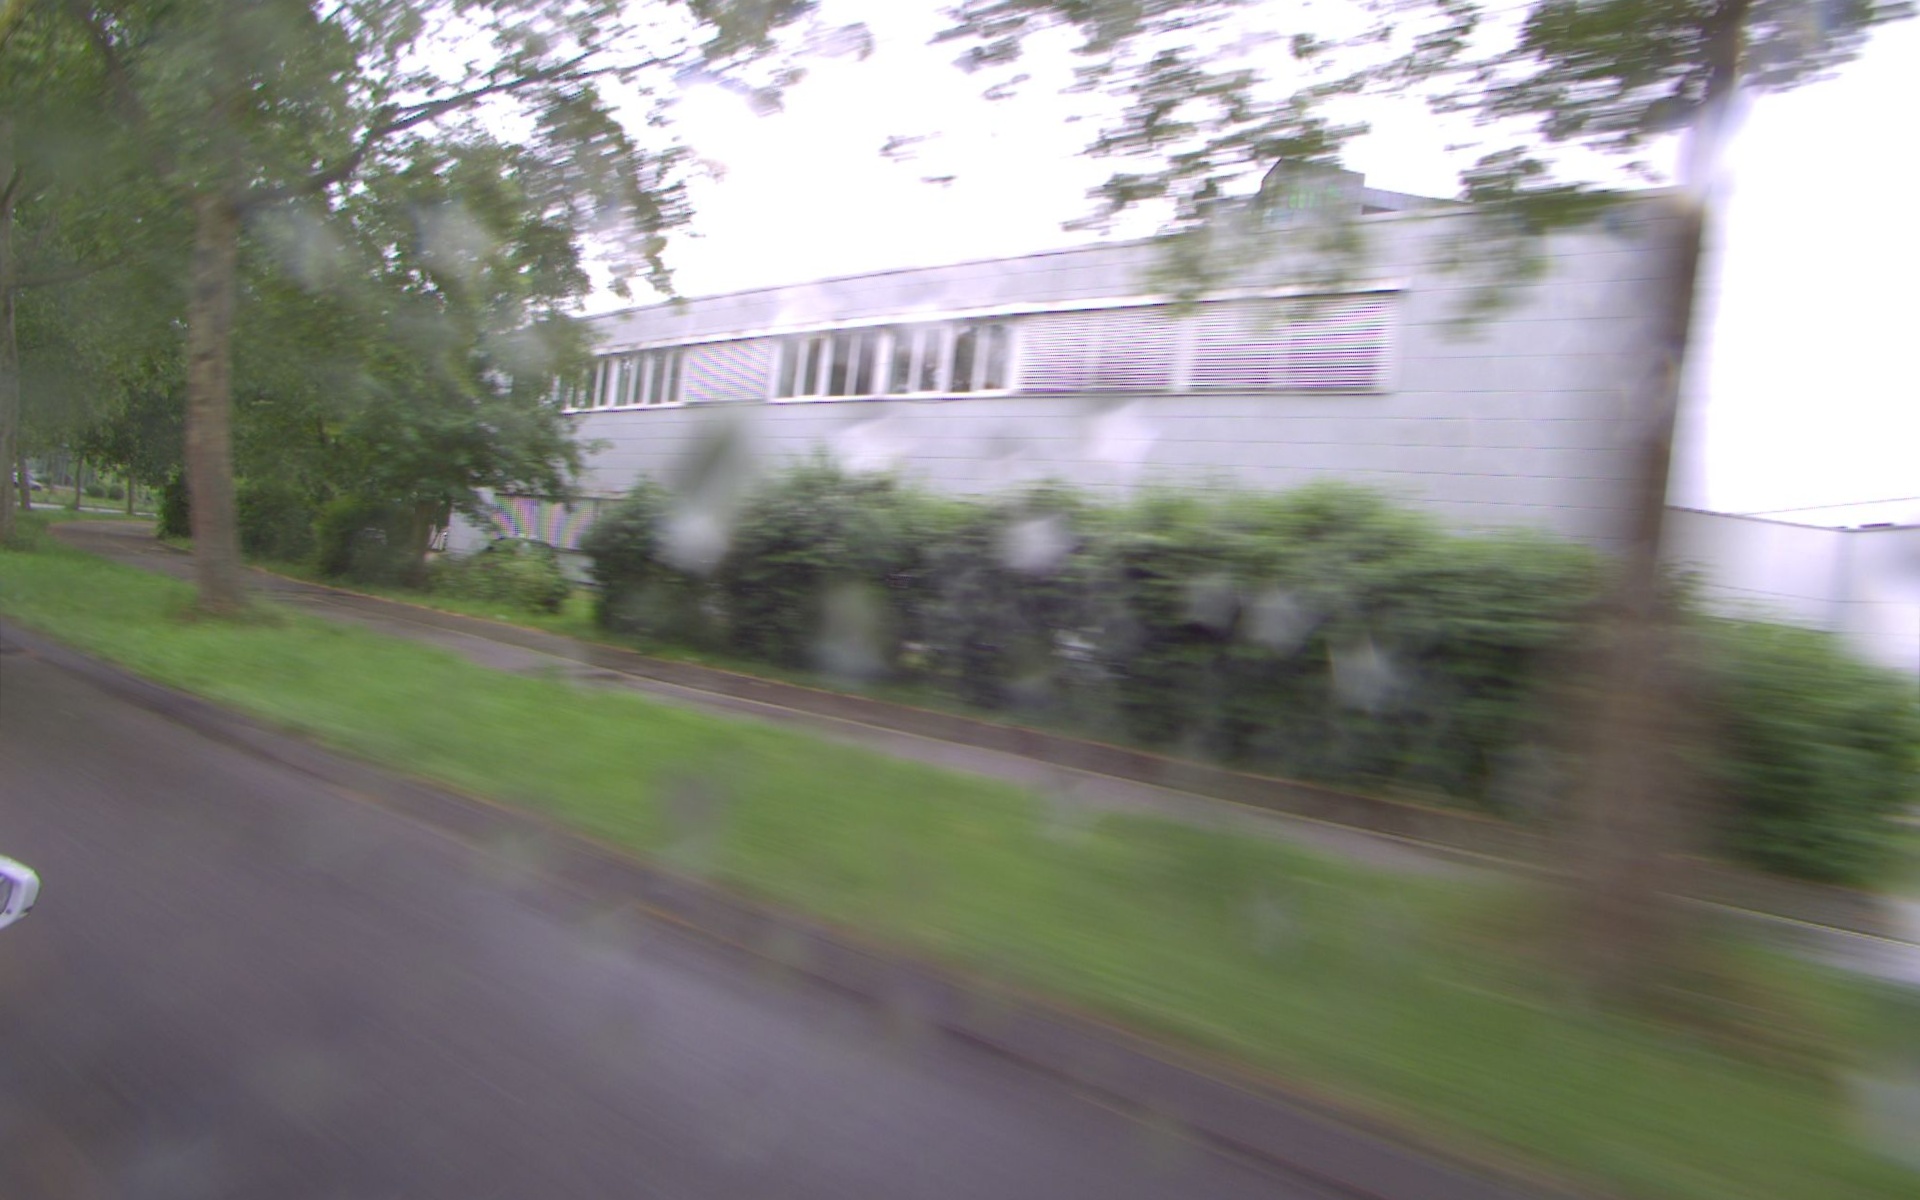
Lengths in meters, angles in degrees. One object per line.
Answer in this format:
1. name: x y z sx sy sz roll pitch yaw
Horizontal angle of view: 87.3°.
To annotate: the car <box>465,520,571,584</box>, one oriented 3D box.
1. car: -15.537 -1.717 35.288 4.099 1.601 1.760 10 1 43
